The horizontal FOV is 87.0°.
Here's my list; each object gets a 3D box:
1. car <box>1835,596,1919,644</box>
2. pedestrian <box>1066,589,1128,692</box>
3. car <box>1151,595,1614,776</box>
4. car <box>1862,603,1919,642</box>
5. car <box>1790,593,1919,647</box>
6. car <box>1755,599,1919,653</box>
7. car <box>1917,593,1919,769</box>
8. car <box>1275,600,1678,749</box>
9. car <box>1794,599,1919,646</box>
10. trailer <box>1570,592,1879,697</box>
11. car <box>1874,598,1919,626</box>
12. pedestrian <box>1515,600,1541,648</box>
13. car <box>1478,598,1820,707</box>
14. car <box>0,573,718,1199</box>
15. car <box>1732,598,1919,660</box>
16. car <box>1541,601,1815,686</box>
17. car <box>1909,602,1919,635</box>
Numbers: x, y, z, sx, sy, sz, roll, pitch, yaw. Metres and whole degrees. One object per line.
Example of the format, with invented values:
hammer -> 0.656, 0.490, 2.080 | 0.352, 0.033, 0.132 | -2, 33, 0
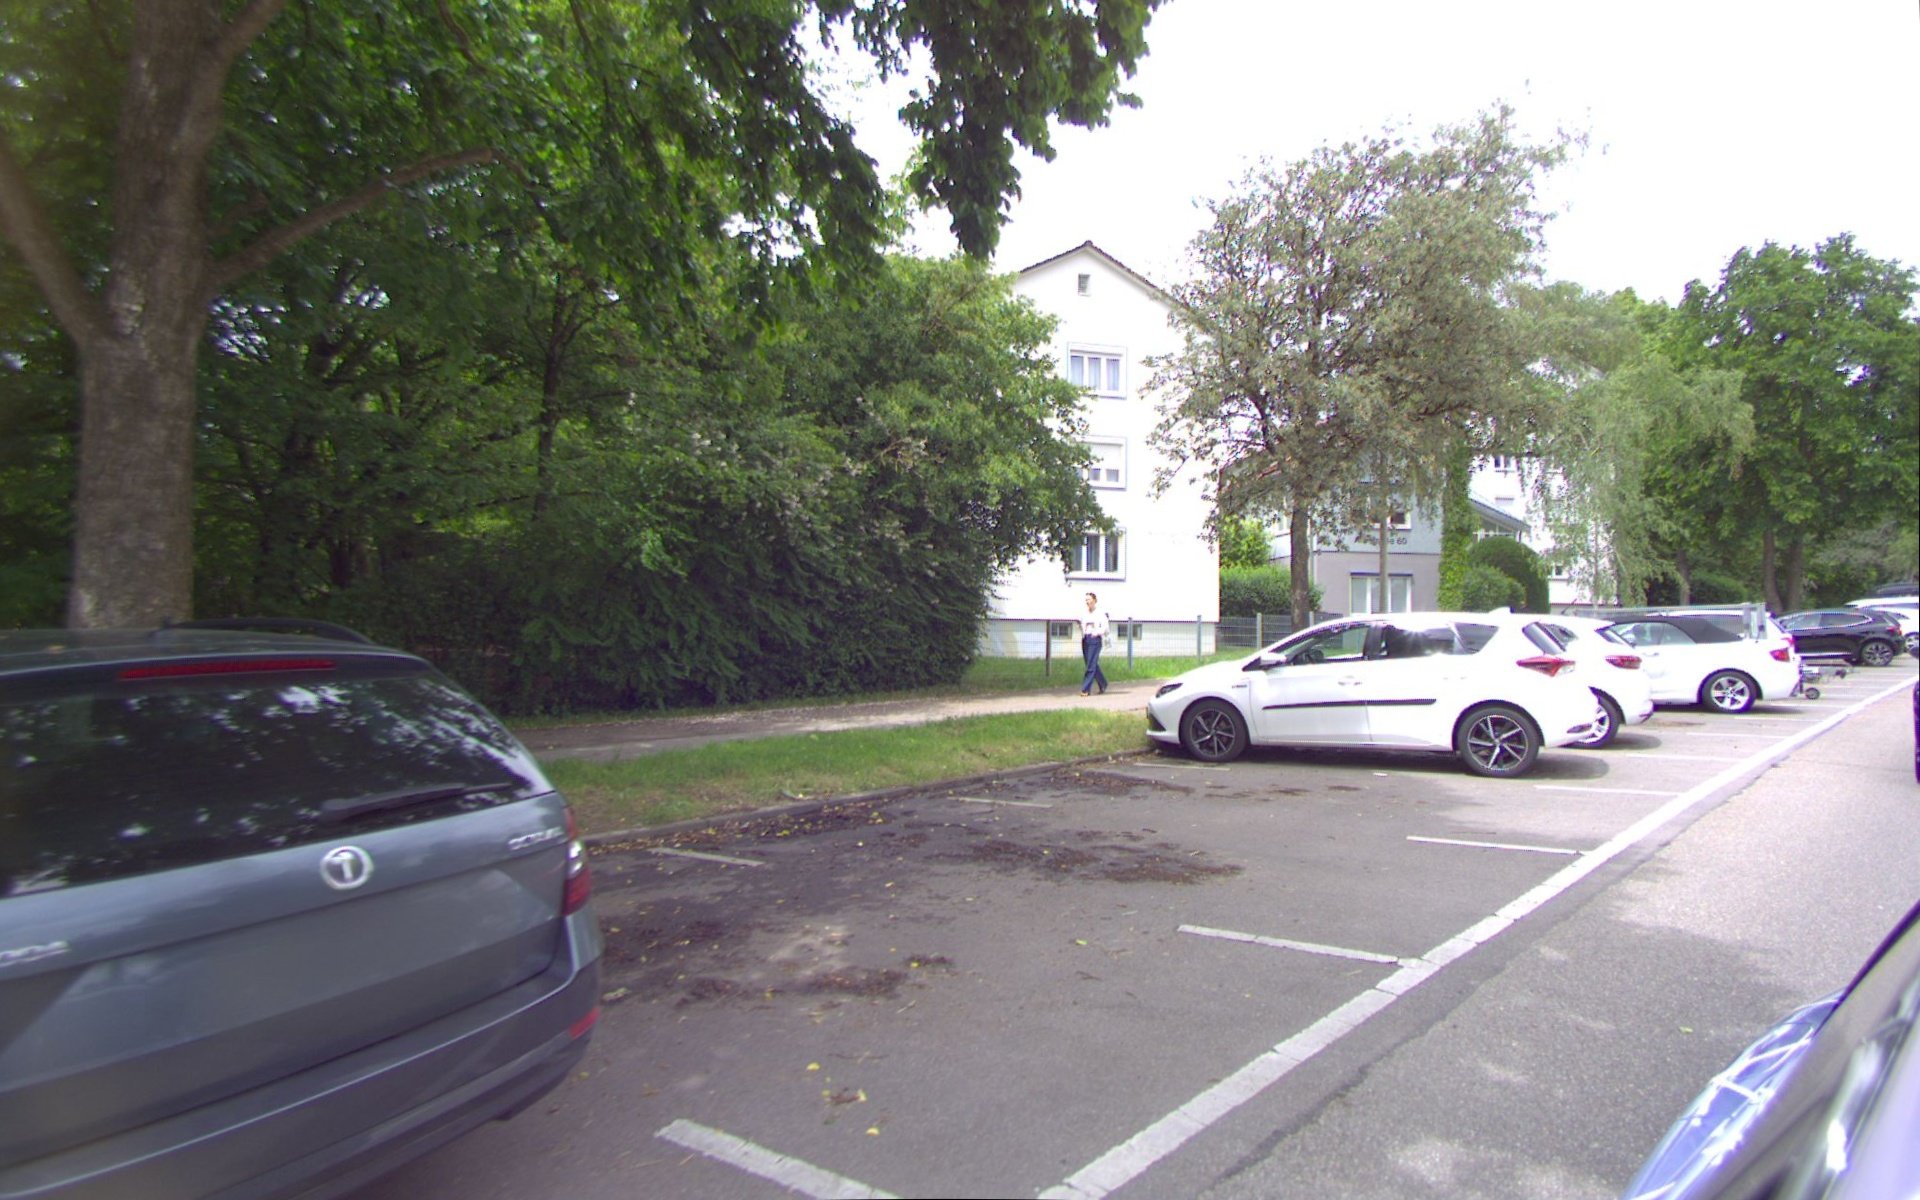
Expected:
car -> 34.473, 0.714, 36.764 | 3.834, 1.664, 1.828 | -2, -2, 37
pedestrian -> 2.265, 0.663, 16.820 | 0.762, 1.665, 0.695 | 0, -1, -21
car -> 4.140, 0.764, 10.168 | 3.968, 1.483, 1.845 | -2, -1, 32
car -> 36.814, 0.828, 38.271 | 3.834, 1.453, 1.633 | -2, -2, 37
car -> 31.741, 0.681, 35.101 | 4.179, 1.781, 1.842 | -2, -1, 27
car -> 25.689, 0.770, 29.666 | 3.484, 1.483, 1.697 | -2, -2, 31
car -> 9.614, 0.680, 8.563 | 3.727, 1.511, 1.812 | -1, 0, -41
car -> 6.059, 0.808, 12.131 | 3.982, 1.483, 1.769 | -2, -2, 41
car -> 29.714, 0.737, 32.930 | 3.834, 1.457, 1.693 | -2, -2, 37
trailer -> 12.633, 0.702, 17.070 | 3.969, 1.572, 1.639 | -1, -1, 33
car -> 55.065, 0.672, 57.852 | 3.825, 1.578, 1.637 | -2, -2, 31
pedestrian -> 18.003, 0.753, 32.067 | 0.688, 1.523, 0.770 | -1, -1, 31
car -> 10.209, 0.786, 15.418 | 3.955, 1.483, 1.835 | -2, -1, 24
car -> -2.851, 0.769, 3.020 | 4.113, 1.483, 1.778 | -2, -2, 32
car -> 22.332, 0.752, 25.847 | 3.816, 1.452, 1.700 | -2, -1, 26
car -> 13.435, 0.818, 19.264 | 3.961, 1.483, 1.774 | -2, -1, 28
car -> 49.428, 0.880, 49.648 | 3.825, 1.633, 1.637 | -2, -2, 31
